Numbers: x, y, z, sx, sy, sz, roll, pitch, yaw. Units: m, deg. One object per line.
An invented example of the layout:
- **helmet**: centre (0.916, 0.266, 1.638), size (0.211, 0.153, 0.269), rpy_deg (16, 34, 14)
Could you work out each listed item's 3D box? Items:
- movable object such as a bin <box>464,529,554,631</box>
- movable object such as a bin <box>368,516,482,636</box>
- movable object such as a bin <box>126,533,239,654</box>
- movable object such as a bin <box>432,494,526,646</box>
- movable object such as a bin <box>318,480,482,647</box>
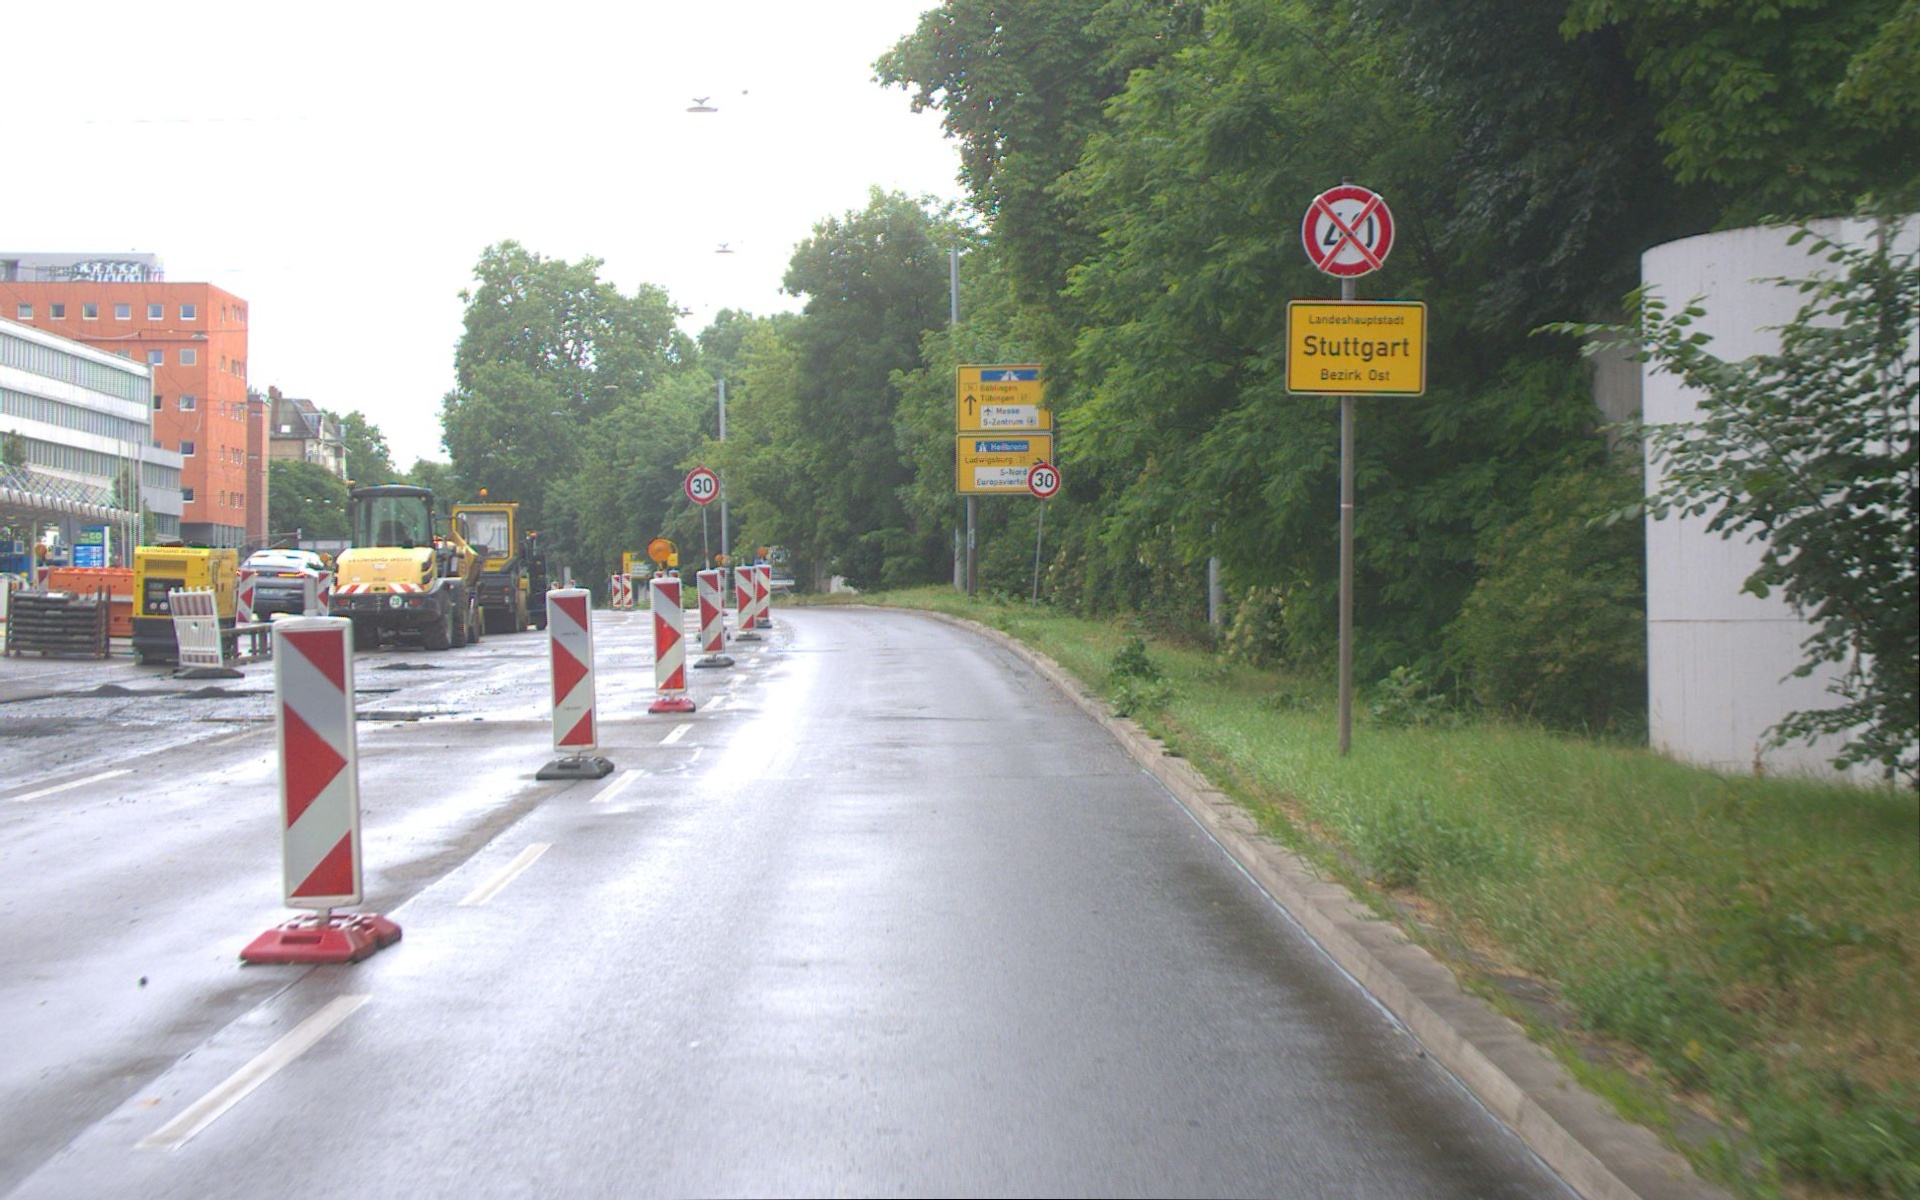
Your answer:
- **movable object such as a bin**: centre (-9.907, -0.451, 75.678), size (1.715, 2.142, 3.350), rpy_deg (-2, 1, -4)
- **movable object such as a bin**: centre (-9.605, -0.451, 62.000), size (1.362, 2.083, 5.030), rpy_deg (0, 1, -1)
- **movable object such as a bin**: centre (-10.853, -0.104, 48.096), size (1.083, 1.639, 2.439), rpy_deg (0, 1, -2)
- **movable object such as a bin**: centre (-9.866, -0.637, 70.691), size (1.465, 2.998, 3.725), rpy_deg (-2, 1, -2)
- **movable object such as a bin**: centre (-9.155, -0.612, 56.569), size (1.902, 2.600, 5.383), rpy_deg (0, 1, -1)
